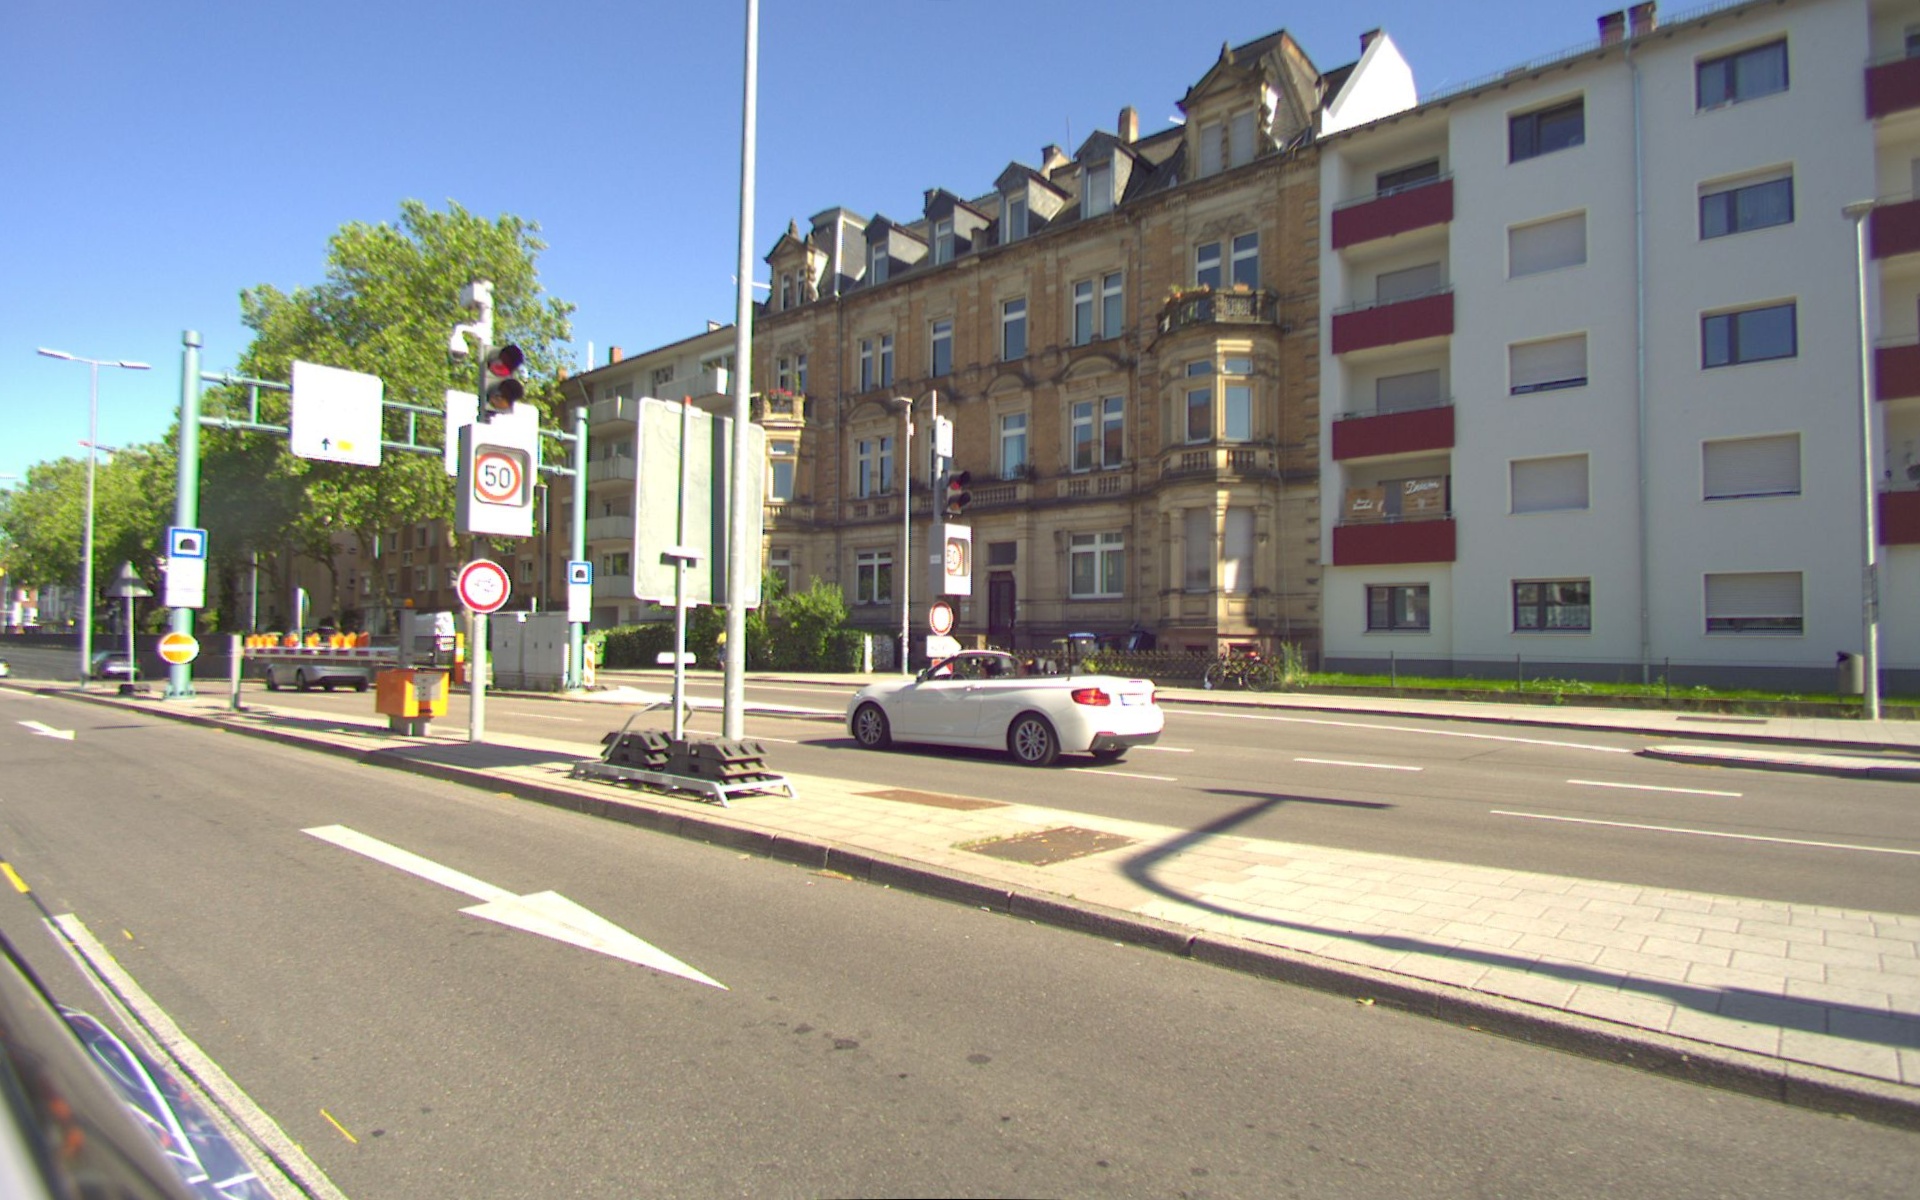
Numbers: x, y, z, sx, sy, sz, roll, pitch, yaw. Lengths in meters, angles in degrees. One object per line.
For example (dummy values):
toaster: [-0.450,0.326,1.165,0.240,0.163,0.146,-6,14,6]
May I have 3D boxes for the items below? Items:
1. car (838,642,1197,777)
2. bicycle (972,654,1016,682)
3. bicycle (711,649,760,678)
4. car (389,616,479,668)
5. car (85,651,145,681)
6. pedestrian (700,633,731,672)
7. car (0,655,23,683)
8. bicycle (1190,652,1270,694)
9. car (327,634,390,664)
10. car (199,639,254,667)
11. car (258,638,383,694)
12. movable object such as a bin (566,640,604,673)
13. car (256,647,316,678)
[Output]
car: [0.615,1.247,12.884,4.314,1.356,1.911,-1,-2,41]
bicycle: [0.979,1.972,29.441,1.413,0.777,0.295,-2,-3,42]
bicycle: [-8.303,2.336,37.319,2.248,1.013,0.462,-3,-2,39]
car: [-26.667,2.201,51.235,5.285,2.465,2.221,-4,-6,42]
car: [-43.168,3.358,51.659,4.308,1.452,1.590,-3,-6,41]
pedestrian: [-8.939,1.906,37.005,1.089,1.388,0.560,-3,-3,39]
car: [-57.789,4.097,60.424,4.612,1.464,1.974,-6,-9,39]
bicycle: [6.530,1.760,24.551,1.939,0.965,0.301,-2,-4,42]
car: [-34.566,2.870,58.136,3.998,1.592,1.972,-4,-6,41]
car: [-43.140,3.134,59.524,3.684,1.498,1.612,-4,-5,38]
car: [-19.624,2.039,30.999,4.387,1.464,1.973,-5,-2,40]
movable object such as a bin: [-16.029,2.445,43.268,1.473,1.371,0.883,-4,-6,42]
car: [-34.795,3.176,52.198,3.687,1.449,1.611,-2,-1,40]
